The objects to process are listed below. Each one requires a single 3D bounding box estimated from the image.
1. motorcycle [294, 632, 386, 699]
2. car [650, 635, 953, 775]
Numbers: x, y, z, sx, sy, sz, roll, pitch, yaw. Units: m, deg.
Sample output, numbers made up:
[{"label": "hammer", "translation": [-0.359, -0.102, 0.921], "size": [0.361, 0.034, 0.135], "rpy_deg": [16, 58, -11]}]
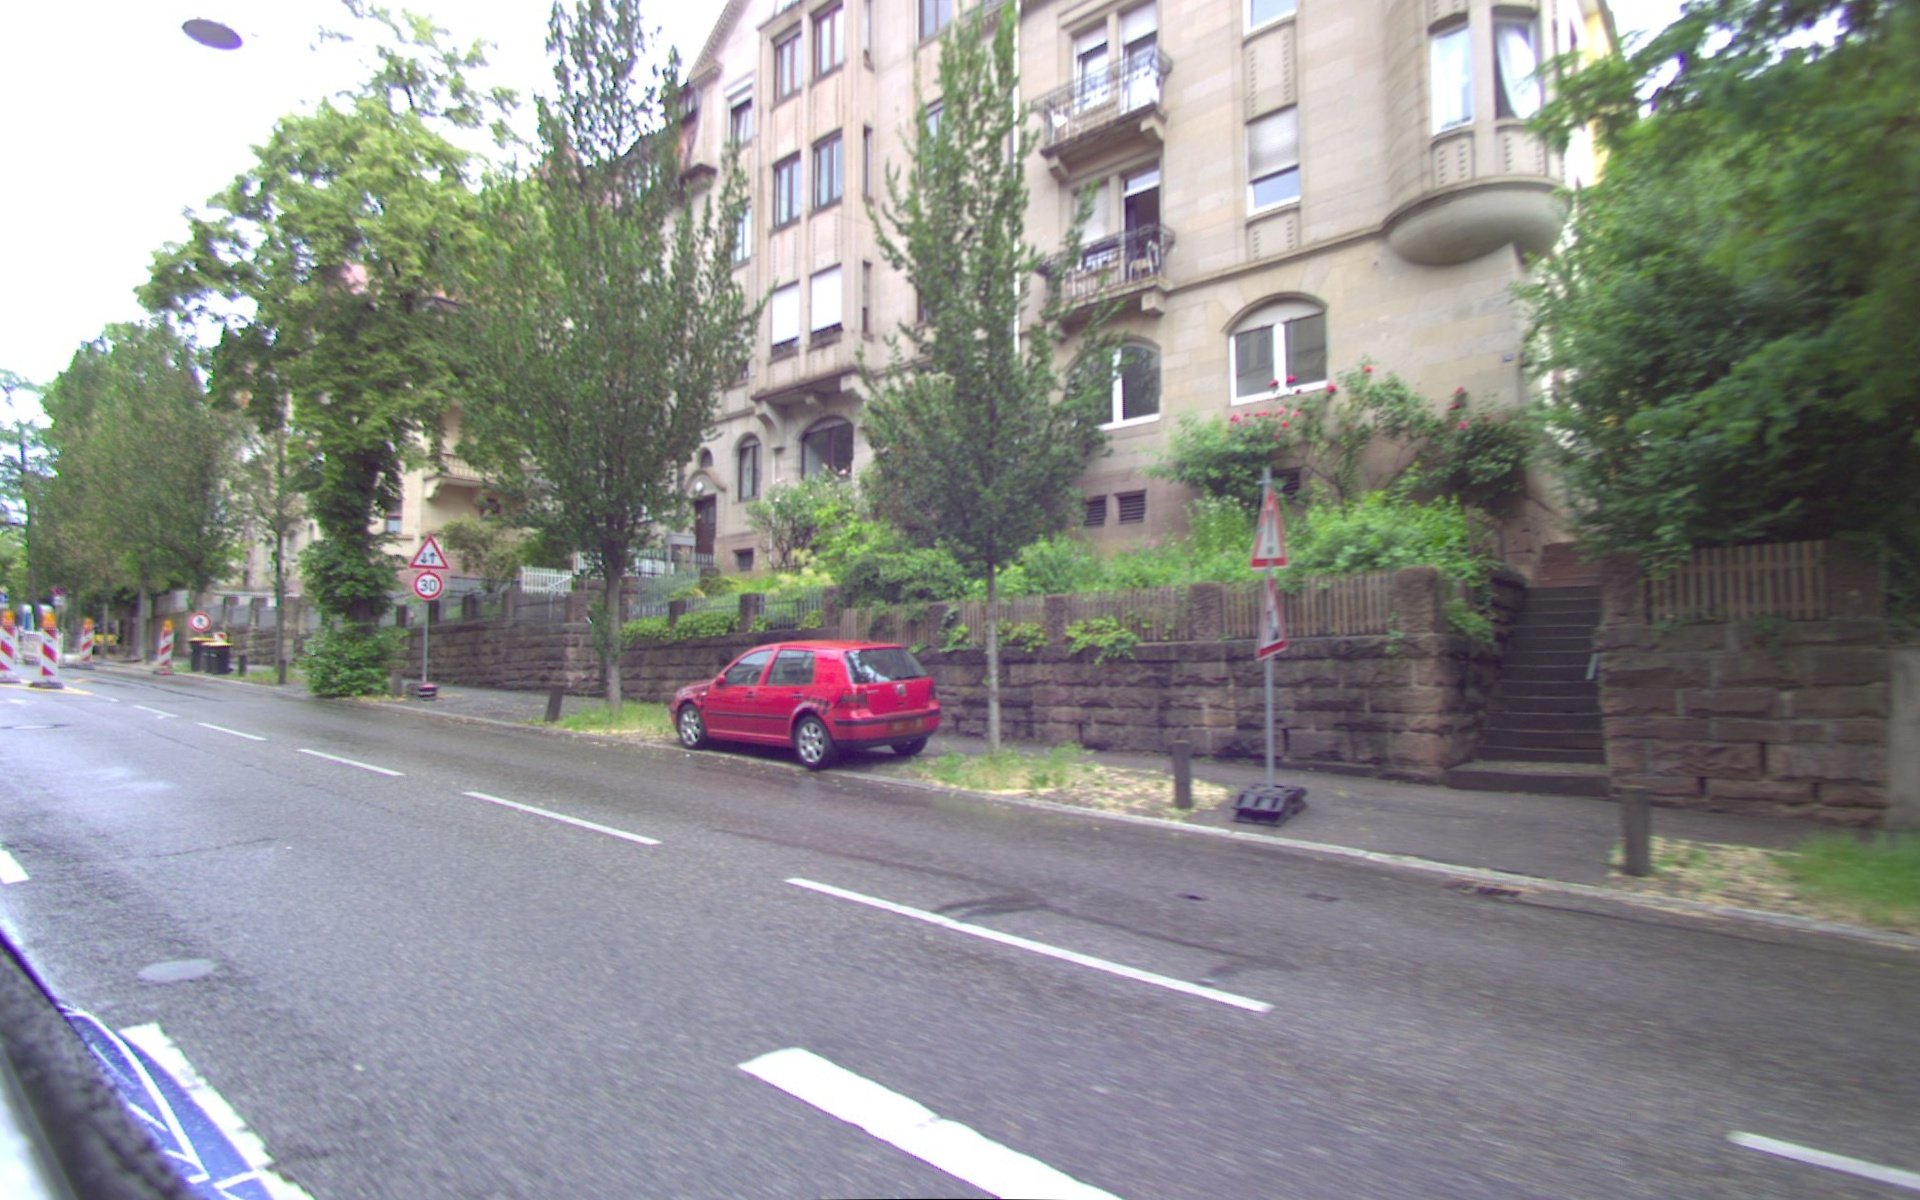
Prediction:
[{"label": "motorcycle", "translation": [-14.249, 1.461, 23.210], "size": [3.058, 1.425, 0.792], "rpy_deg": [-2, -1, 39]}, {"label": "car", "translation": [-2.119, 1.203, 12.862], "size": [4.062, 1.462, 1.596], "rpy_deg": [-1, -2, 42]}]
